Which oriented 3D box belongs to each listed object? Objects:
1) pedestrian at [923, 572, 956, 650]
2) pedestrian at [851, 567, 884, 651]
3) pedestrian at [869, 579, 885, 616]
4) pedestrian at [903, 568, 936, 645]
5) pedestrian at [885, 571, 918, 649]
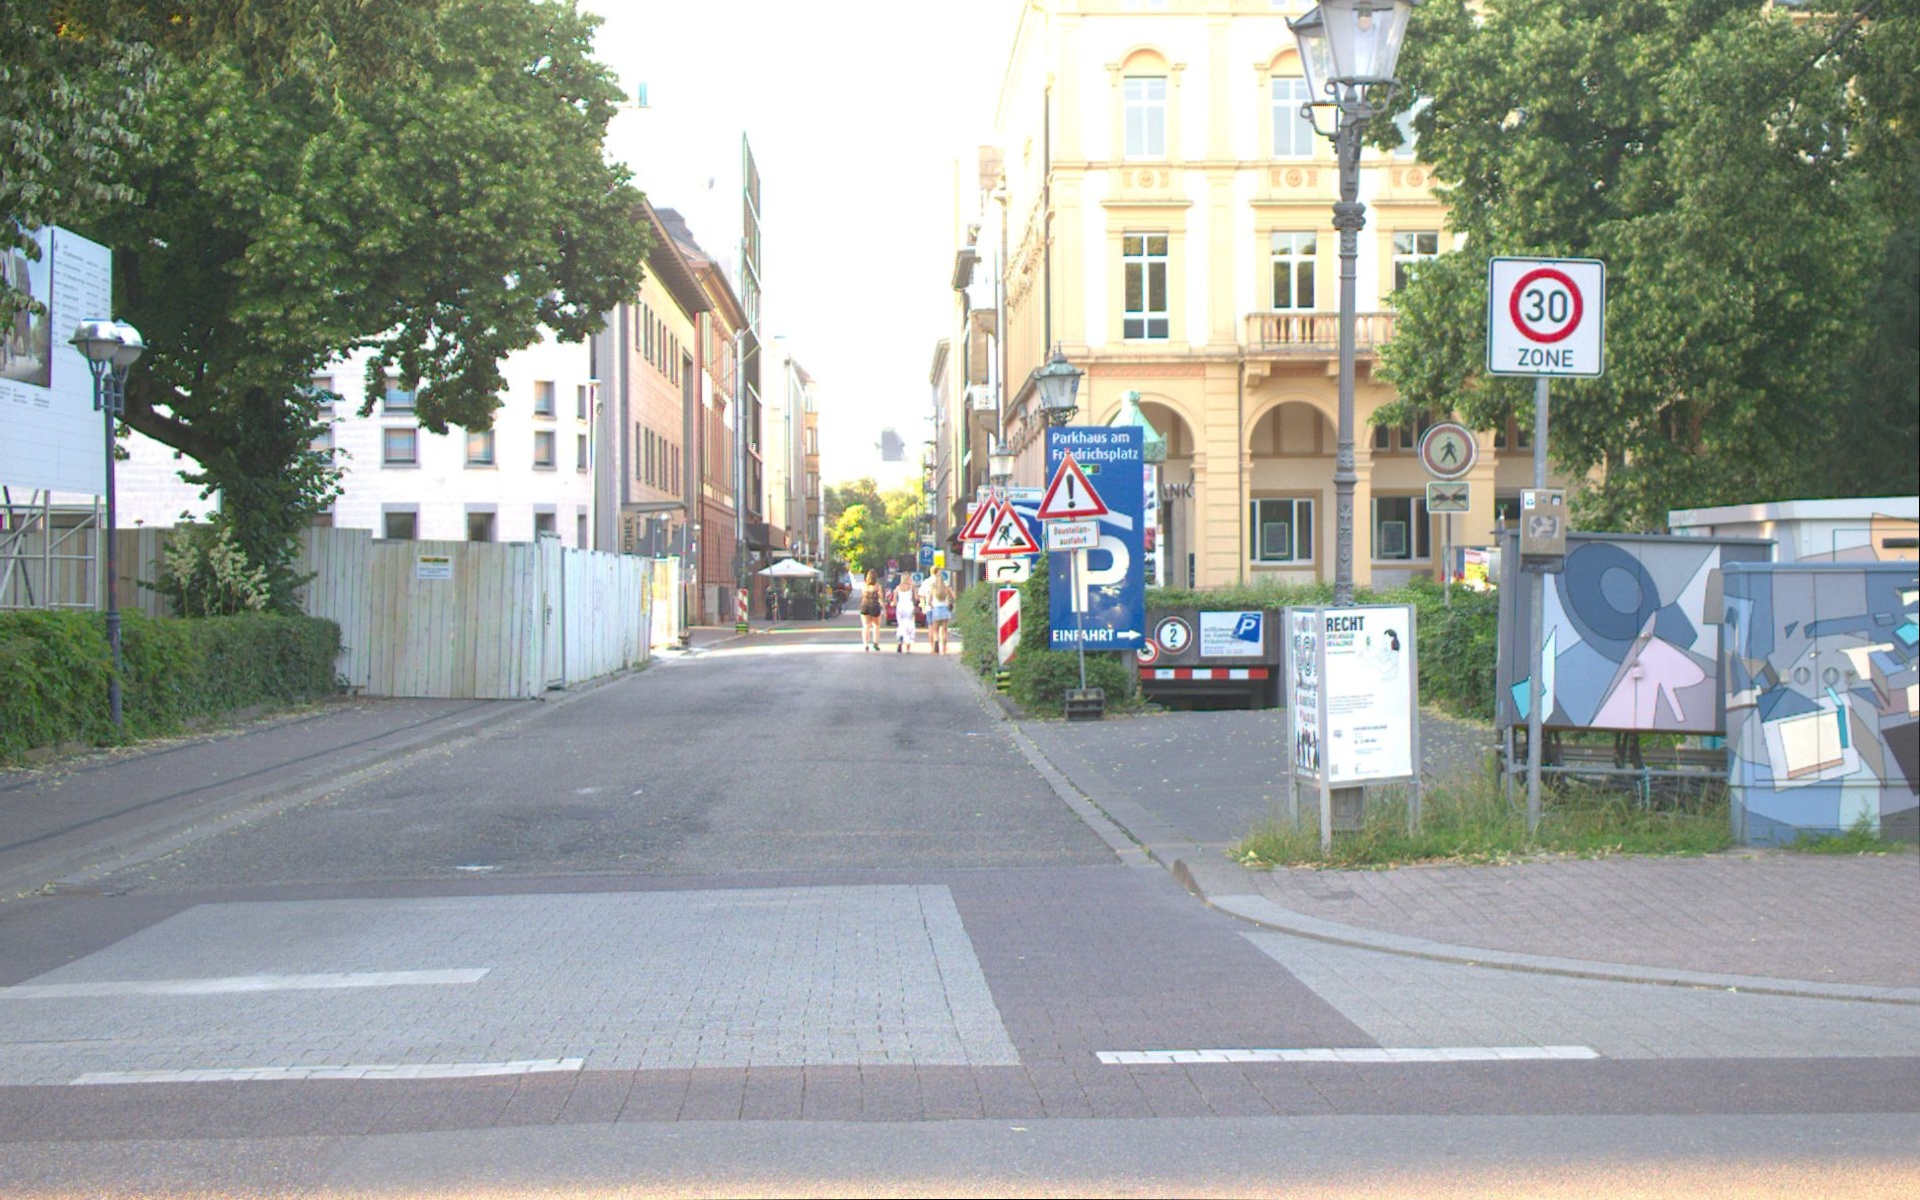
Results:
[{"bbox_3d":[-0.437,0.231,71.677,0.657,1.611,0.745,-1,0,-1],"label":"pedestrian"},{"bbox_3d":[-1.957,0.180,72.826,0.657,1.754,0.745,-1,0,-1],"label":"pedestrian"},{"bbox_3d":[-4.155,-0.111,171.515,0.743,1.828,0.761,-1,0,2],"label":"pedestrian"},{"bbox_3d":[-0.861,0.134,72.866,0.657,1.630,0.745,-1,0,-1],"label":"pedestrian"},{"bbox_3d":[-1.212,0.197,71.676,0.657,1.611,0.745,-1,0,-1],"label":"pedestrian"}]
